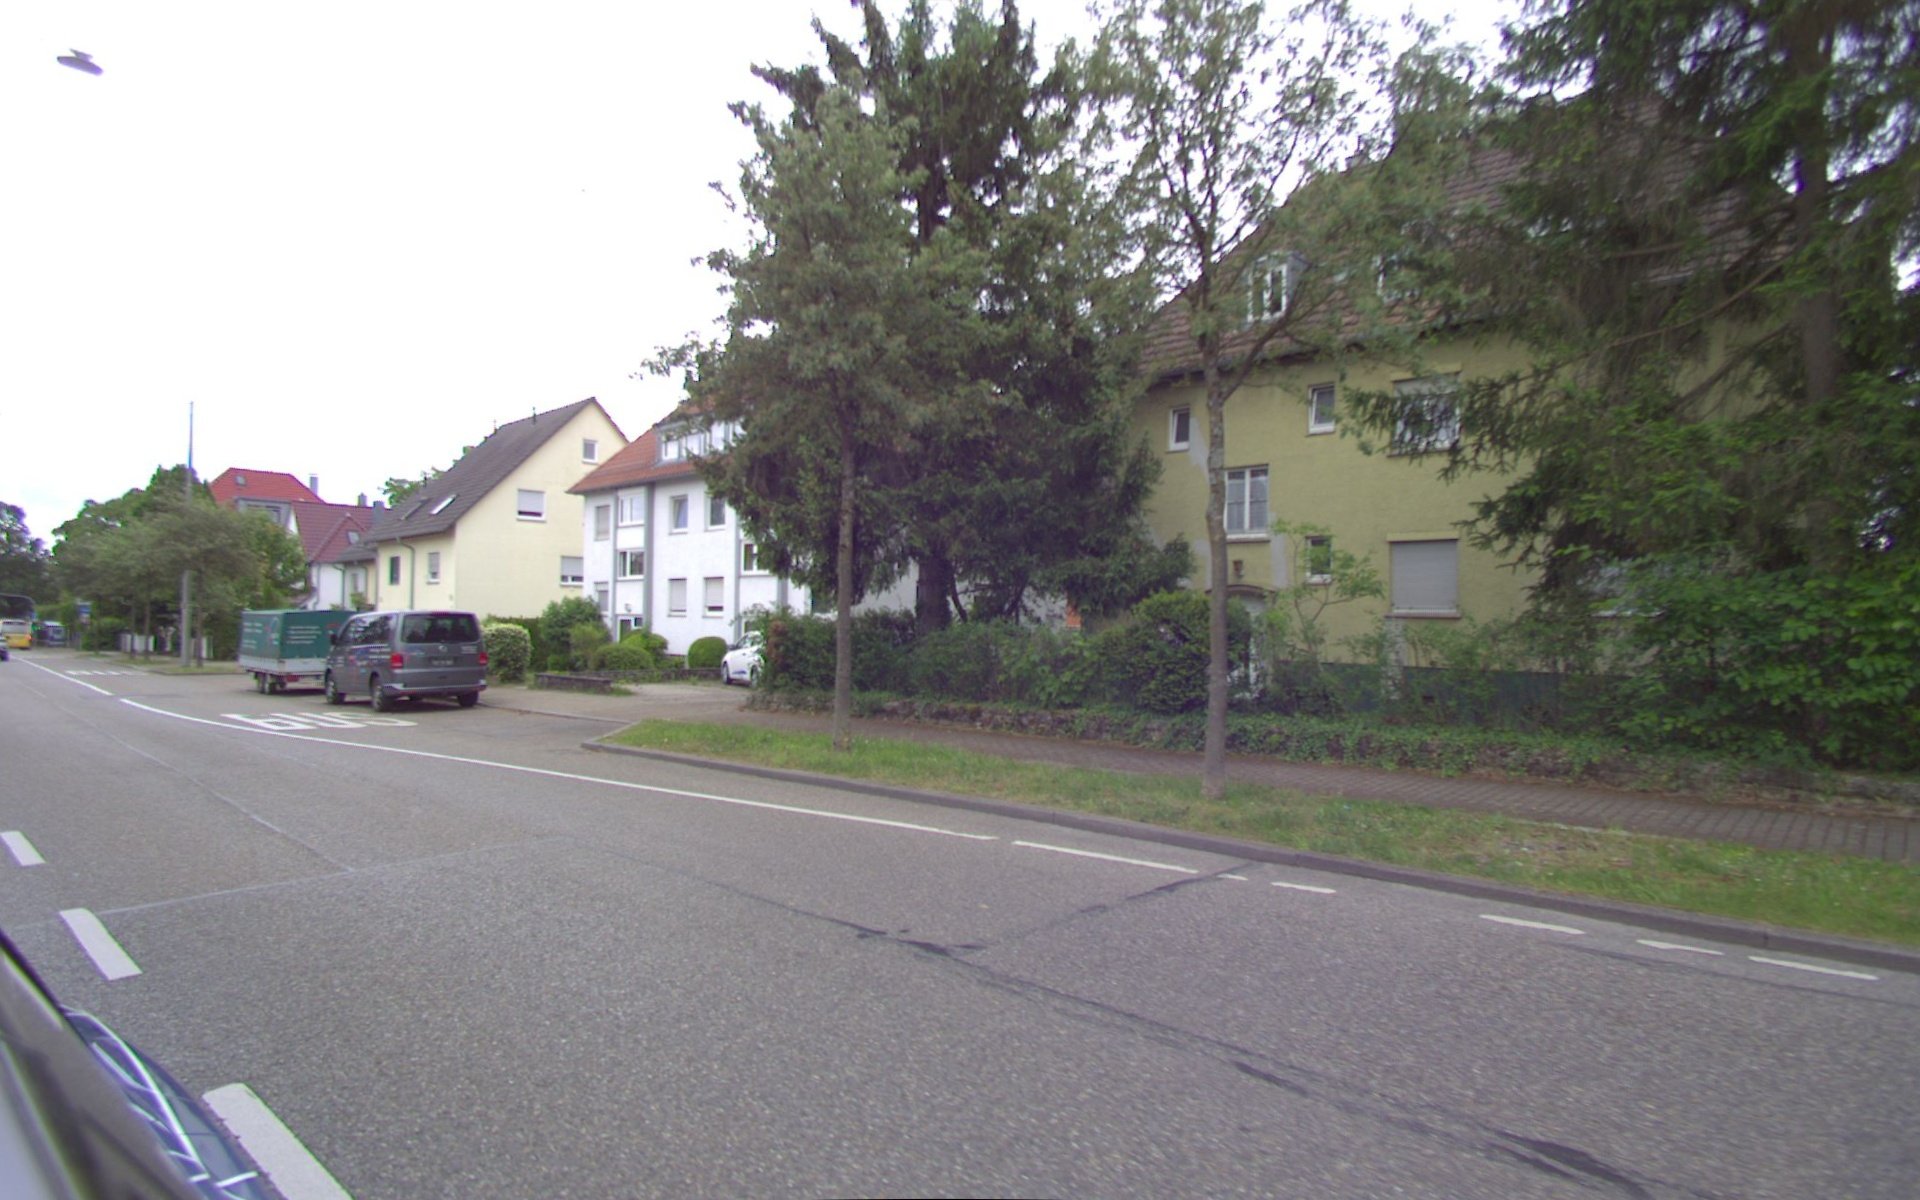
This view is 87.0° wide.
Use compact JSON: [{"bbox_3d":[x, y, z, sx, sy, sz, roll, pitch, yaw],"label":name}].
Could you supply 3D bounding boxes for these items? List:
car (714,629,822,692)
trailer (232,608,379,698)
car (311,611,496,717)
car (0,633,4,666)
[{"bbox_3d":[-4.950,1.507,25.825,1.603,1.497,3.436,2,-3,-31],"label":"car"},{"bbox_3d":[-16.846,1.329,25.961,4.425,2.104,2.131,-2,-3,43],"label":"trailer"},{"bbox_3d":[-11.711,1.272,21.133,4.899,1.964,1.971,-2,-3,43],"label":"car"},{"bbox_3d":[-49.657,2.498,51.209,1.800,1.615,4.301,1,-2,-44],"label":"car"}]
